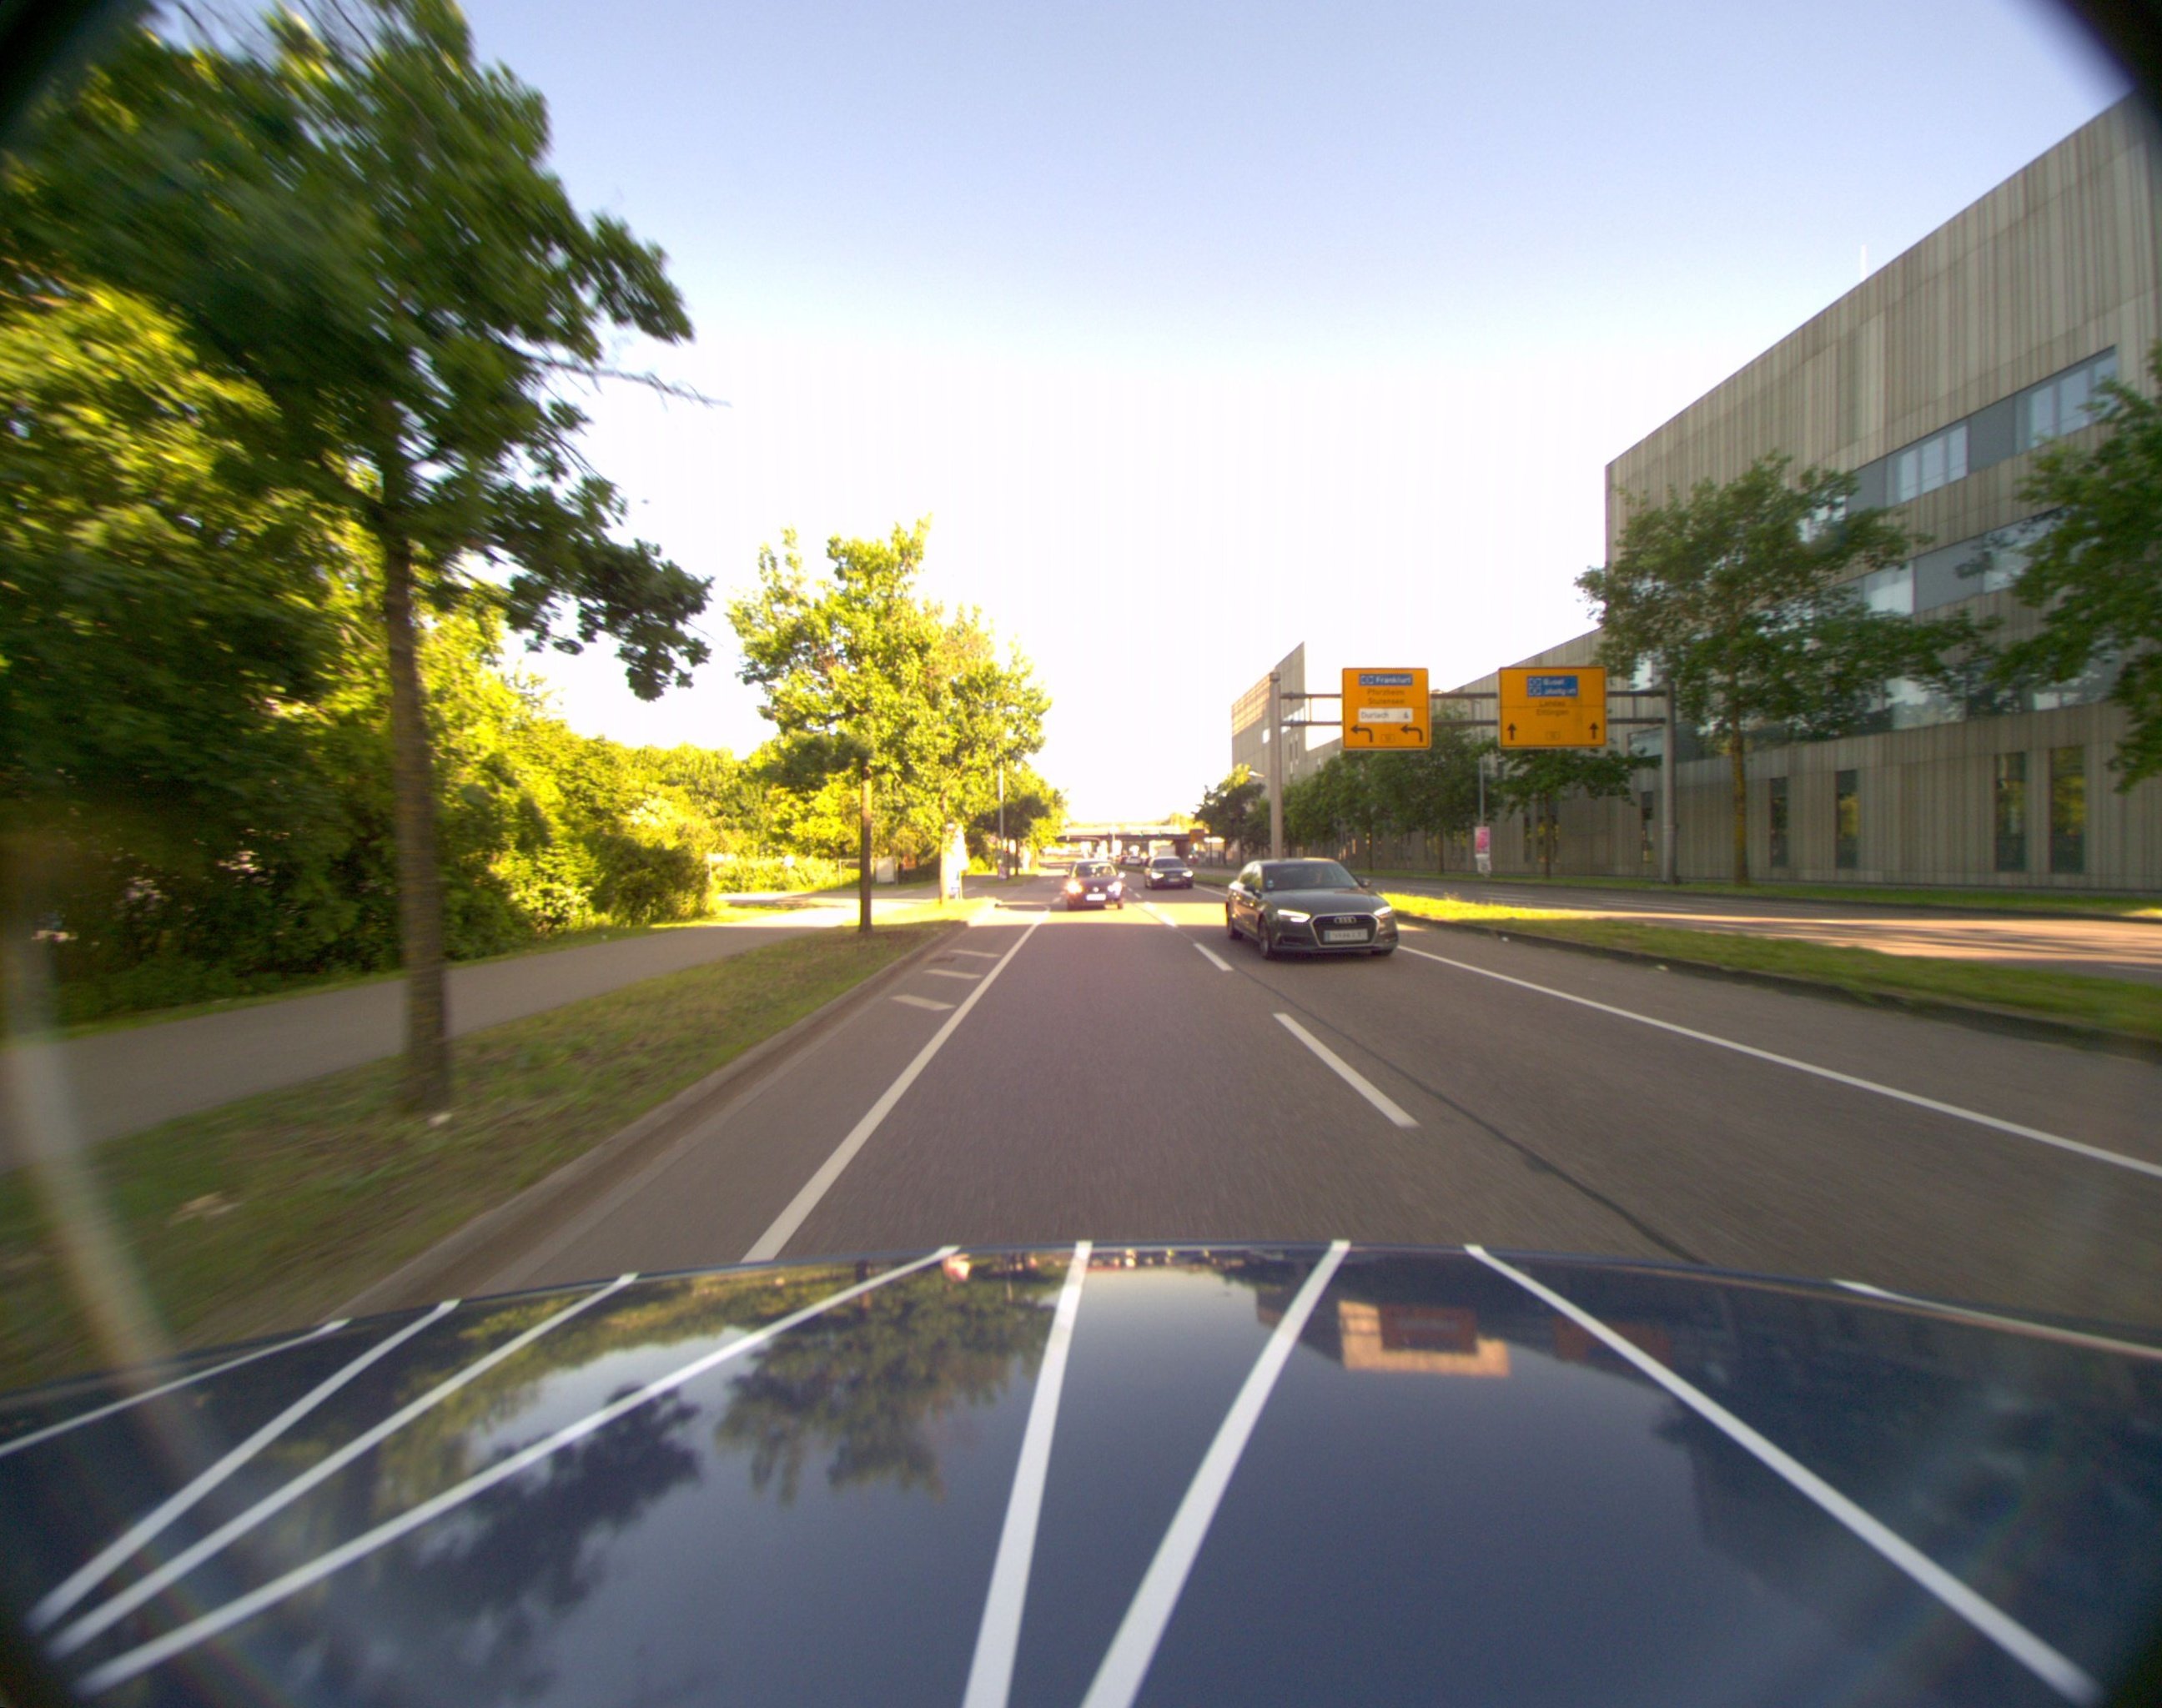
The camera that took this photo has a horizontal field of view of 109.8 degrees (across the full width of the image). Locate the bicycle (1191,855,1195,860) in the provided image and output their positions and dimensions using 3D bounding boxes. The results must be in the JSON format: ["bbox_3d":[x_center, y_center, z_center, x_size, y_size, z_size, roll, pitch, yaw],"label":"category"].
[{"bbox_3d":[23.202,0.703,157.811,0.513,0.885,1.754,-1,0,-2],"label":"bicycle"}]

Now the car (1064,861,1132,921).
[{"bbox_3d":[0.394,0.973,21.843,1.702,1.474,4.051,-2,0,-2],"label":"car"}]

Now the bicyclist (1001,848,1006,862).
[{"bbox_3d":[-8.874,0.072,87.070,0.566,1.600,0.865,-1,1,-2],"label":"bicyclist"}]

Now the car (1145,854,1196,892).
[{"bbox_3d":[3.978,0.814,34.479,1.702,1.528,3.946,-2,0,-2],"label":"car"}]

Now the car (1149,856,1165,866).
[{"bbox_3d":[10.947,0.961,110.159,1.840,1.415,4.000,0,0,-1],"label":"car"}]

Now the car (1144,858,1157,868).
[{"bbox_3d":[10.684,1.434,116.697,1.624,1.461,3.639,1,0,-1],"label":"car"}]

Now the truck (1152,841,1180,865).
[{"bbox_3d":[11.144,-0.135,100.008,2.693,2.943,7.113,1,0,-1],"label":"truck"}]

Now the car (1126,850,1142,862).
[{"bbox_3d":[7.813,0.277,112.234,1.829,1.672,4.658,1,0,-1],"label":"car"}]

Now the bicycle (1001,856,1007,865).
[{"bbox_3d":[-8.834,0.737,87.224,0.573,0.986,2.046,-1,0,-2],"label":"bicycle"}]

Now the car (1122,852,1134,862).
[{"bbox_3d":[7.744,0.433,125.436,1.606,1.571,3.212,0,0,0],"label":"car"}]

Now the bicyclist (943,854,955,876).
[{"bbox_3d":[-9.321,0.761,53.657,0.687,1.513,1.035,-1,1,-4],"label":"bicyclist"}]

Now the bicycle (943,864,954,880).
[{"bbox_3d":[-9.402,1.255,53.875,0.517,1.066,1.935,-1,0,-4],"label":"bicycle"}]

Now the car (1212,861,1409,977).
[{"bbox_3d":[3.325,0.853,11.924,1.702,1.396,4.364,-2,0,-1],"label":"car"}]

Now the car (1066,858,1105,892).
[{"bbox_3d":[0.173,0.963,36.223,1.702,1.478,3.946,-1,0,-2],"label":"car"}]
